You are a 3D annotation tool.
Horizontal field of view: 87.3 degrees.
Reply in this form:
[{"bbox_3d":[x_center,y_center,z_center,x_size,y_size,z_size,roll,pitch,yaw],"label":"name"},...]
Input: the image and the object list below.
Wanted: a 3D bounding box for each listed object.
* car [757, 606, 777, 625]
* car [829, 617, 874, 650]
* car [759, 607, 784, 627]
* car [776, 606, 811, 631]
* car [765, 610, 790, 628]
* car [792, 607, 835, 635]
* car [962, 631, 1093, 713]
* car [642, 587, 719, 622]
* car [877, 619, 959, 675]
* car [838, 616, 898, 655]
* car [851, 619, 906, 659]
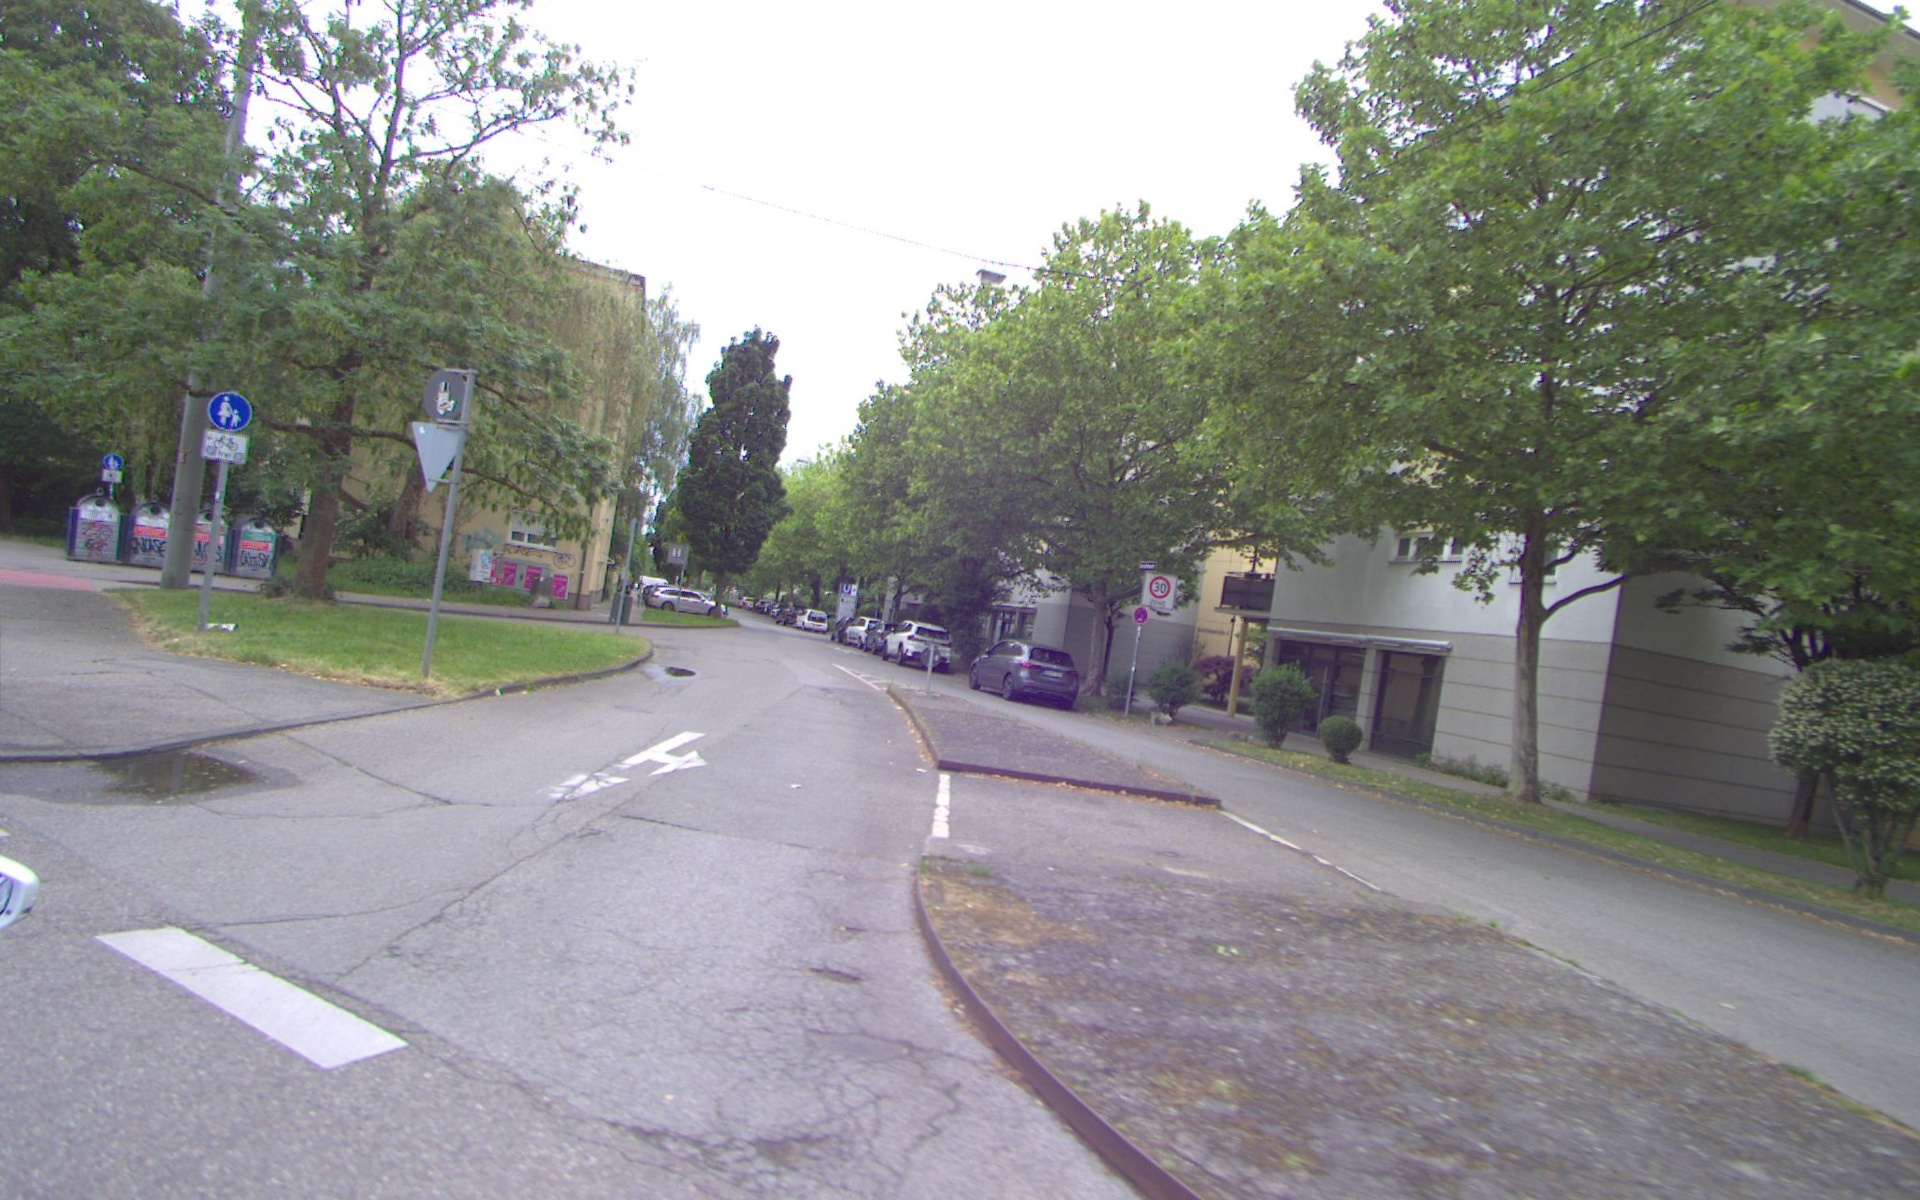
[{"bbox_3d":[-20.643,1.638,107.479,1.645,1.650,3.841,11,-3,-14],"label":"car"},{"bbox_3d":[-5.802,1.758,53.602,1.554,1.369,3.434,11,-3,-16],"label":"car"},{"bbox_3d":[-18.658,1.673,99.518,1.971,1.498,3.991,11,-3,-15],"label":"car"},{"bbox_3d":[-12.316,1.340,74.207,1.764,1.463,4.075,11,-3,-17],"label":"car"},{"bbox_3d":[-17.162,1.770,94.343,1.842,1.396,3.991,11,-3,-14],"label":"car"},{"bbox_3d":[-9.949,1.408,68.130,1.768,1.502,3.616,12,-3,-23],"label":"car"},{"bbox_3d":[1.666,1.829,26.459,1.855,1.585,4.006,11,-3,-18],"label":"car"},{"bbox_3d":[-16.391,0.267,59.002,4.146,1.595,1.811,6,-1,-19],"label":"car"},{"bbox_3d":[-1.608,1.679,36.744,1.759,1.615,4.236,10,-3,-16],"label":"car"},{"bbox_3d":[-4.491,1.679,48.751,1.630,1.441,3.425,12,-3,-24],"label":"car"},{"bbox_3d":[-3.633,1.681,44.207,1.624,1.389,3.436,11,-3,-15],"label":"car"}]
